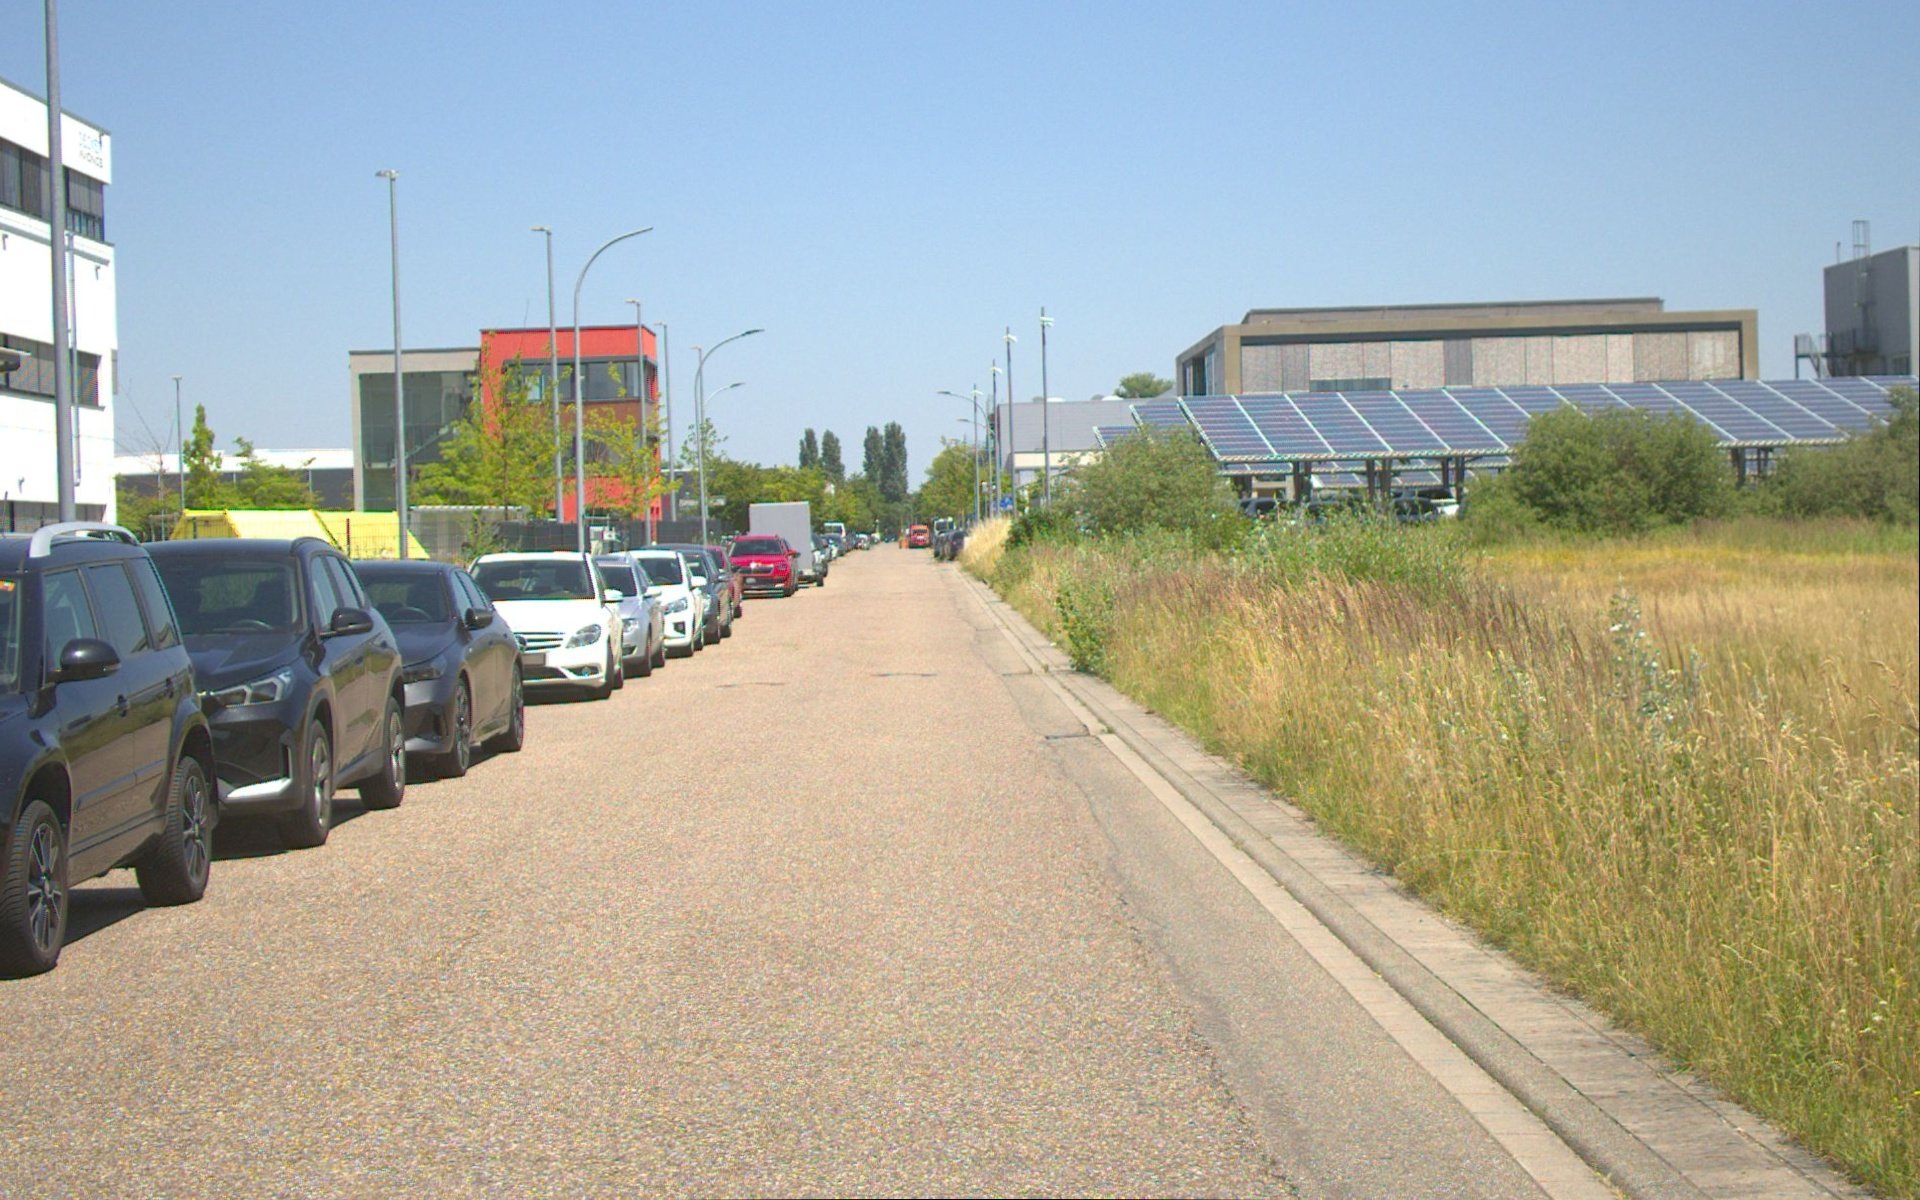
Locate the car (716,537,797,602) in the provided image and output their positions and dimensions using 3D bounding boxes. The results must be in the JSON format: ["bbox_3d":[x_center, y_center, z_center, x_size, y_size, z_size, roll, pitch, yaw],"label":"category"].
[{"bbox_3d":[-5.039,-0.774,85.675,1.787,1.515,3.983,-2,1,-1],"label":"car"}]

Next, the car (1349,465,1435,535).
[{"bbox_3d":[13.165,-3.038,105.054,1.993,2.007,4.000,-2,1,-1],"label":"car"}]

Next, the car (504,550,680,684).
[{"bbox_3d":[-4.575,0.181,43.207,1.787,1.515,3.983,-2,1,-1],"label":"car"}]

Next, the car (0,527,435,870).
[{"bbox_3d":[-4.200,0.445,19.434,1.768,1.657,4.552,-2,1,-1],"label":"car"}]

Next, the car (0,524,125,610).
[{"bbox_3d":[-22.325,-0.748,81.417,4.528,1.936,2.031,-2,1,0],"label":"car"}]

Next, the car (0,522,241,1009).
[{"bbox_3d":[-4.162,0.546,13.776,1.677,1.657,4.236,-2,1,-1],"label":"car"}]

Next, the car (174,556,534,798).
[{"bbox_3d":[-4.300,0.476,25.154,1.768,1.480,5.015,-2,1,-1],"label":"car"}]

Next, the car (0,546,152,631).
[{"bbox_3d":[-22.358,-0.274,84.298,4.528,1.936,2.031,-2,1,0],"label":"car"}]

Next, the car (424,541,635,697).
[{"bbox_3d":[-4.594,0.163,37.195,1.787,1.515,3.983,-2,1,-1],"label":"car"}]

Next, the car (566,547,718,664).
[{"bbox_3d":[-4.473,0.045,48.847,1.787,1.515,3.983,-2,1,-1],"label":"car"}]

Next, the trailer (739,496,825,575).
[{"bbox_3d":[-5.012,-1.820,97.363,2.201,2.130,4.286,-2,1,-1],"label":"trailer"}]

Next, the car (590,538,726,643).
[{"bbox_3d":[-4.702,-0.185,54.026,1.787,1.515,3.983,-2,1,-1],"label":"car"}]
